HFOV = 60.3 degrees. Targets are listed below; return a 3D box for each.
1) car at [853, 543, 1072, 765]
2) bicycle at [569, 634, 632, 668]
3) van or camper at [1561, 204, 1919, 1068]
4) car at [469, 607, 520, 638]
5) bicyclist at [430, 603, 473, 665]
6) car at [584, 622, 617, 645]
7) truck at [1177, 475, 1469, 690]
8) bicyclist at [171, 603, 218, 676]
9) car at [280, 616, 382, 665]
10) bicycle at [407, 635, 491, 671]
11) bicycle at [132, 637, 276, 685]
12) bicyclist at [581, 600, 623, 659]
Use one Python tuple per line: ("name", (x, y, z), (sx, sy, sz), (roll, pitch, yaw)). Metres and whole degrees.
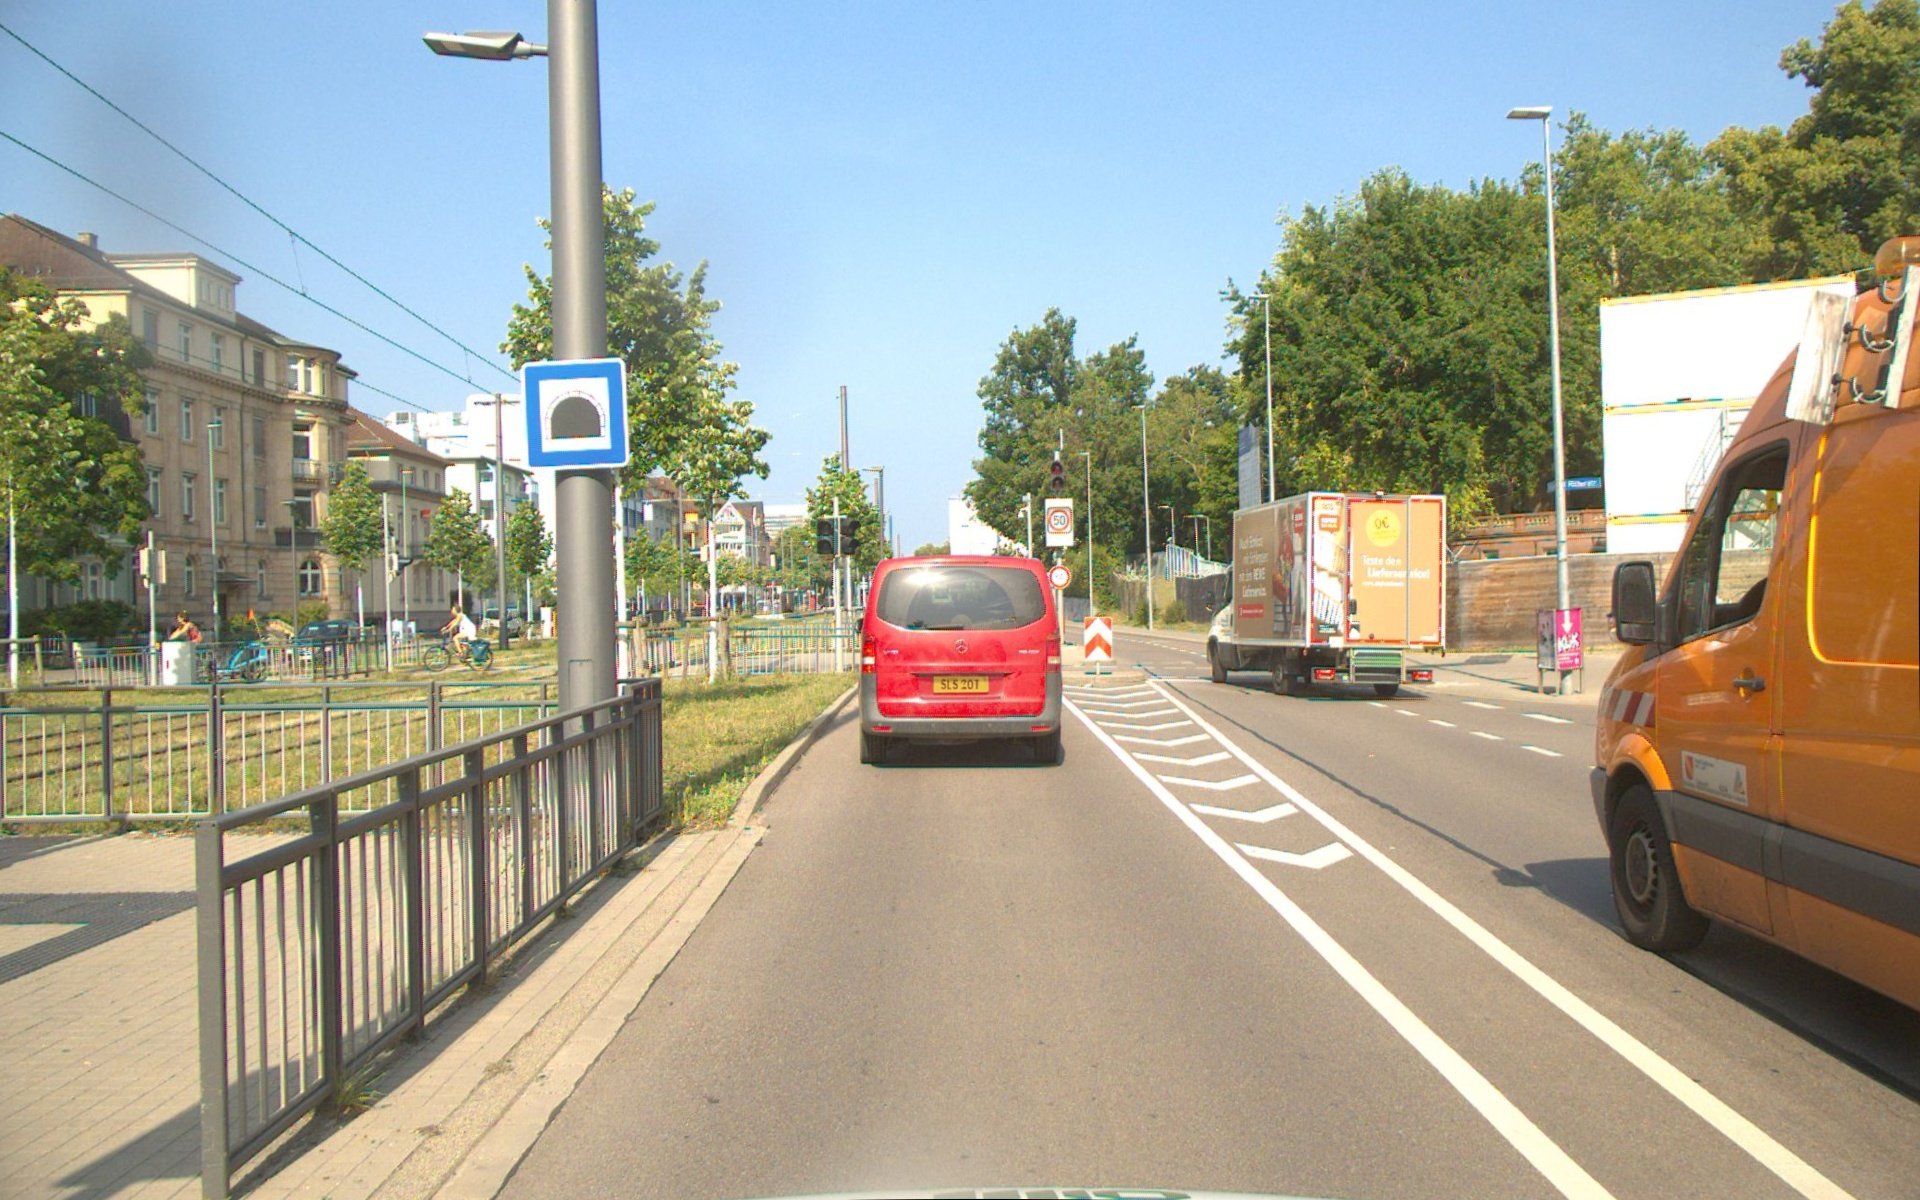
("car", (0.050, 0.469, 16.140), (1.862, 1.892, 4.000), (0, 0, 1))
("bicycle", (-9.082, 1.274, 41.790), (0.704, 0.812, 1.602), (0, -1, 27))
("van or camper", (3.770, 0.107, 4.886), (1.945, 2.515, 6.063), (0, 0, 2))
("car", (-32.378, 1.600, 115.180), (2.204, 2.049, 5.259), (1, -2, -3))
("bicyclist", (-12.910, 0.865, 42.024), (0.966, 1.526, 0.618), (-2, 0, -14))
("car", (-29.370, 2.699, 135.193), (1.878, 1.844, 3.999), (0, -1, -1))
("truck", (5.830, -0.205, 28.041), (2.454, 3.114, 7.809), (1, -1, -6))
("bicyclist", (-17.900, 0.915, 38.663), (0.881, 1.657, 0.882), (-1, 0, -32))
("car", (-21.383, 1.342, 56.433), (1.954, 1.539, 4.395), (-2, 0, -3))
("bicycle", (-12.970, 1.345, 42.009), (1.962, 0.807, 0.627), (-2, 0, -14))
("bicycle", (-17.703, 1.403, 38.767), (2.959, 0.982, 0.890), (-2, 0, -33))
("bicyclist", (-9.059, 0.741, 41.821), (0.672, 1.466, 0.805), (0, -1, 27))
